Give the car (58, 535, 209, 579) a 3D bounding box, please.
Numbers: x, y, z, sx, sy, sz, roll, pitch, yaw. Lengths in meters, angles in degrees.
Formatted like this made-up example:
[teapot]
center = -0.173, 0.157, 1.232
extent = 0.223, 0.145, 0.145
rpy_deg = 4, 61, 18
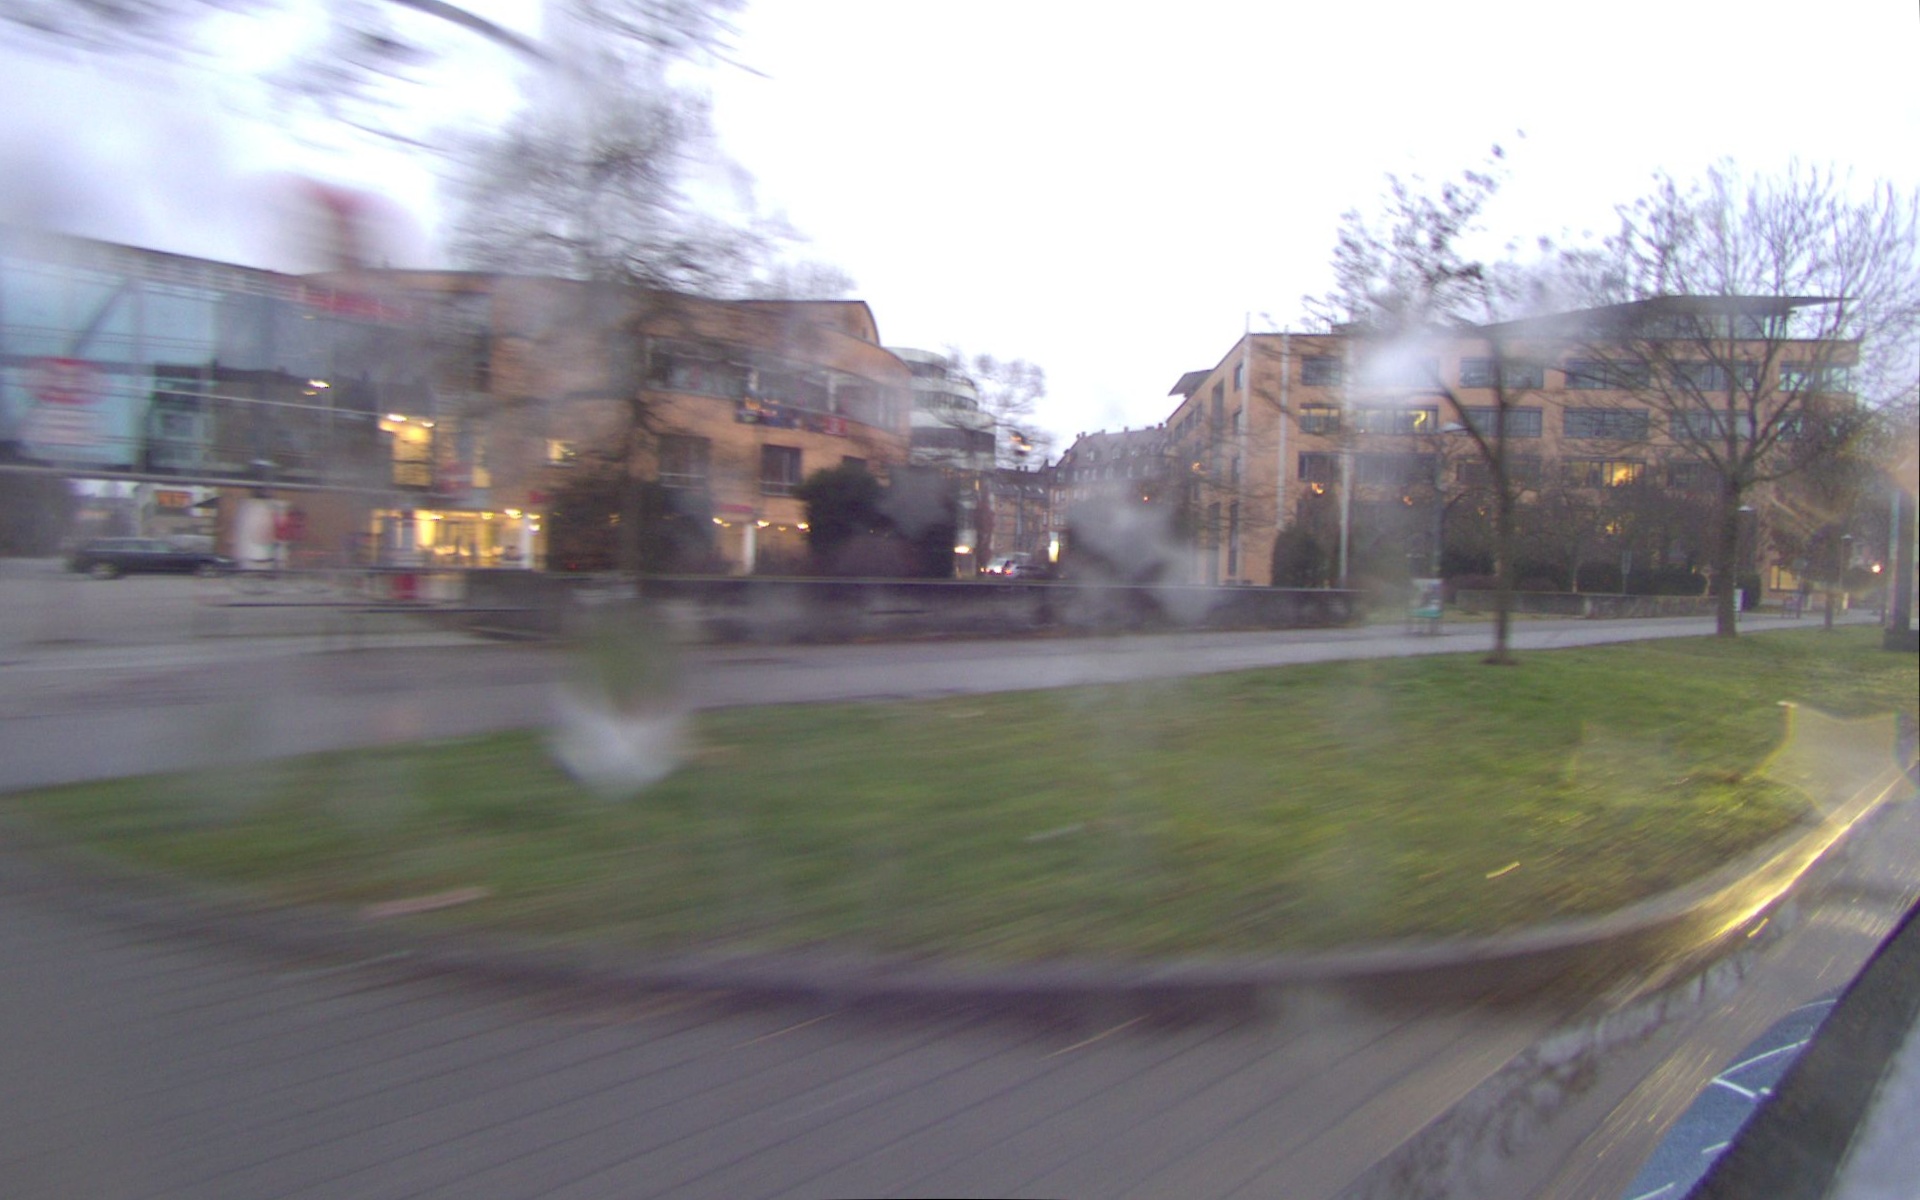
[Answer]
[car]
center = -29.276, -1.537, 36.006
extent = 3.921, 1.415, 2.002
rpy_deg = 0, 3, -32
